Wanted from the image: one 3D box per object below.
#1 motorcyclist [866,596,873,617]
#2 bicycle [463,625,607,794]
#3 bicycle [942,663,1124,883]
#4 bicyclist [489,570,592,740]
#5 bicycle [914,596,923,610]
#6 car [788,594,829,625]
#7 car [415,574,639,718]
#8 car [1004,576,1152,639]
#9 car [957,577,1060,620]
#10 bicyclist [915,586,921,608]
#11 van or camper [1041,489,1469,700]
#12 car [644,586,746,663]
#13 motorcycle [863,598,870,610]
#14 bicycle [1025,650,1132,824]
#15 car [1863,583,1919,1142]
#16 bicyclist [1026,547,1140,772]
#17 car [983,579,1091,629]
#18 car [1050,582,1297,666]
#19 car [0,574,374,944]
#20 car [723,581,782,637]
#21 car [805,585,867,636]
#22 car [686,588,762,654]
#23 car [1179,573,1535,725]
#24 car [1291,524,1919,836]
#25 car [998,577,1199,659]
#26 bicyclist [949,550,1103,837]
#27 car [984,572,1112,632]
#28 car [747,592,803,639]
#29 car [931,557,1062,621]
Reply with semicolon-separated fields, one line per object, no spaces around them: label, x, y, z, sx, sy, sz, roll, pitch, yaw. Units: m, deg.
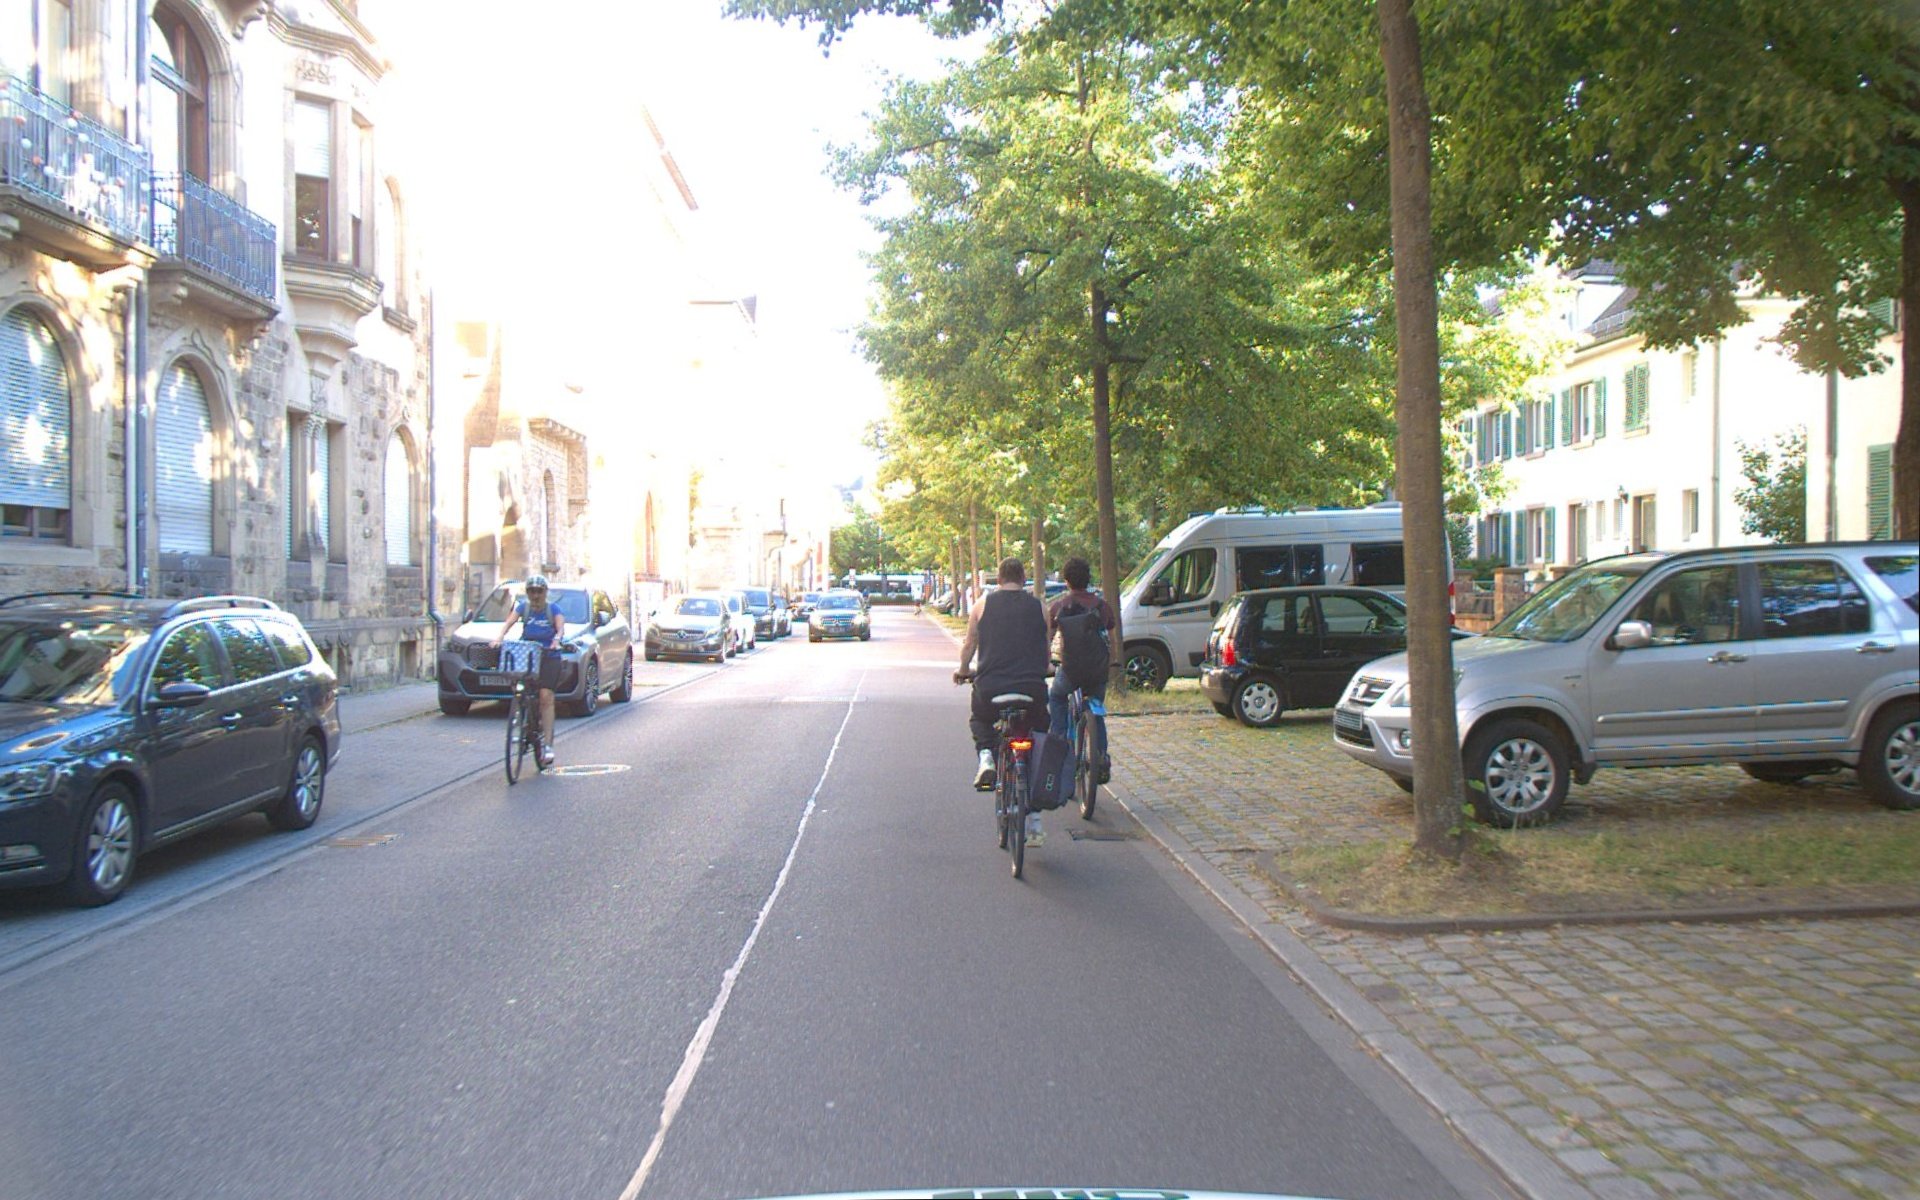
motorcyclist;-6.735;0.482;123.135;0.540;1.474;0.687;-1;0;-5
bicycle;-3.539;0.858;14.006;0.738;1.199;2.618;-2;1;-5
bicycle;0.375;0.936;9.614;0.683;1.091;1.964;0;-1;-9
bicyclist;-3.532;0.438;13.987;0.652;1.368;1.059;-2;1;-5
bicycle;-2.559;0.210;101.051;0.530;0.842;1.918;0;-1;-2
car;-7.669;0.502;83.961;1.954;1.512;3.997;0;-1;-3
car;-5.447;0.562;21.396;2.009;1.650;4.391;0;-1;-4
car;3.422;0.237;48.519;4.157;1.676;1.854;-2;-1;-1
car;2.209;-0.063;76.521;4.660;1.811;1.854;-2;-1;-1
bicyclist;-2.564;-0.191;101.052;0.408;1.374;0.430;0;-1;-2
van or camper;4.033;-0.069;23.329;5.464;2.581;2.266;-3;-1;-4
car;-5.965;0.541;37.638;1.720;1.543;4.112;4;0;-2
motorcycle;-6.953;0.303;122.894;0.540;0.815;1.307;-1;0;-4
bicycle;0.827;0.940;11.996;0.544;1.091;1.968;0;0;-3
car;4.936;0.577;3.698;4.797;1.467;1.941;-2;-1;-4
bicyclist;0.871;0.418;11.959;0.704;1.553;0.971;0;-1;-3
car;3.062;0.170;66.412;4.157;1.828;1.854;-2;-1;-1
car;3.985;0.451;31.389;4.411;1.478;1.815;-1;-1;-1
car;-5.030;0.726;9.510;1.694;1.602;4.707;0;-1;-1
car;-6.560;0.304;52.627;1.598;1.694;3.966;0;-1;-3
car;-3.901;0.342;51.684;1.859;1.512;4.377;0;-1;-5
car;-6.101;0.539;43.045;1.461;1.543;3.773;4;0;-2
car;4.291;0.521;18.217;3.431;1.498;1.750;-2;-1;-3
car;4.669;0.439;11.104;4.388;1.698;1.941;-3;1;-4
car;3.027;0.402;36.617;4.161;1.634;1.751;-2;-1;-5
bicyclist;0.359;0.510;9.504;0.693;1.553;0.970;0;-1;-10
car;2.936;0.072;55.915;4.157;1.872;1.854;-2;-1;-1
car;-6.474;0.550;58.318;1.583;1.508;4.016;4;0;-2
car;2.034;-0.585;93.232;7.184;3.339;2.222;-2;-1;-1
